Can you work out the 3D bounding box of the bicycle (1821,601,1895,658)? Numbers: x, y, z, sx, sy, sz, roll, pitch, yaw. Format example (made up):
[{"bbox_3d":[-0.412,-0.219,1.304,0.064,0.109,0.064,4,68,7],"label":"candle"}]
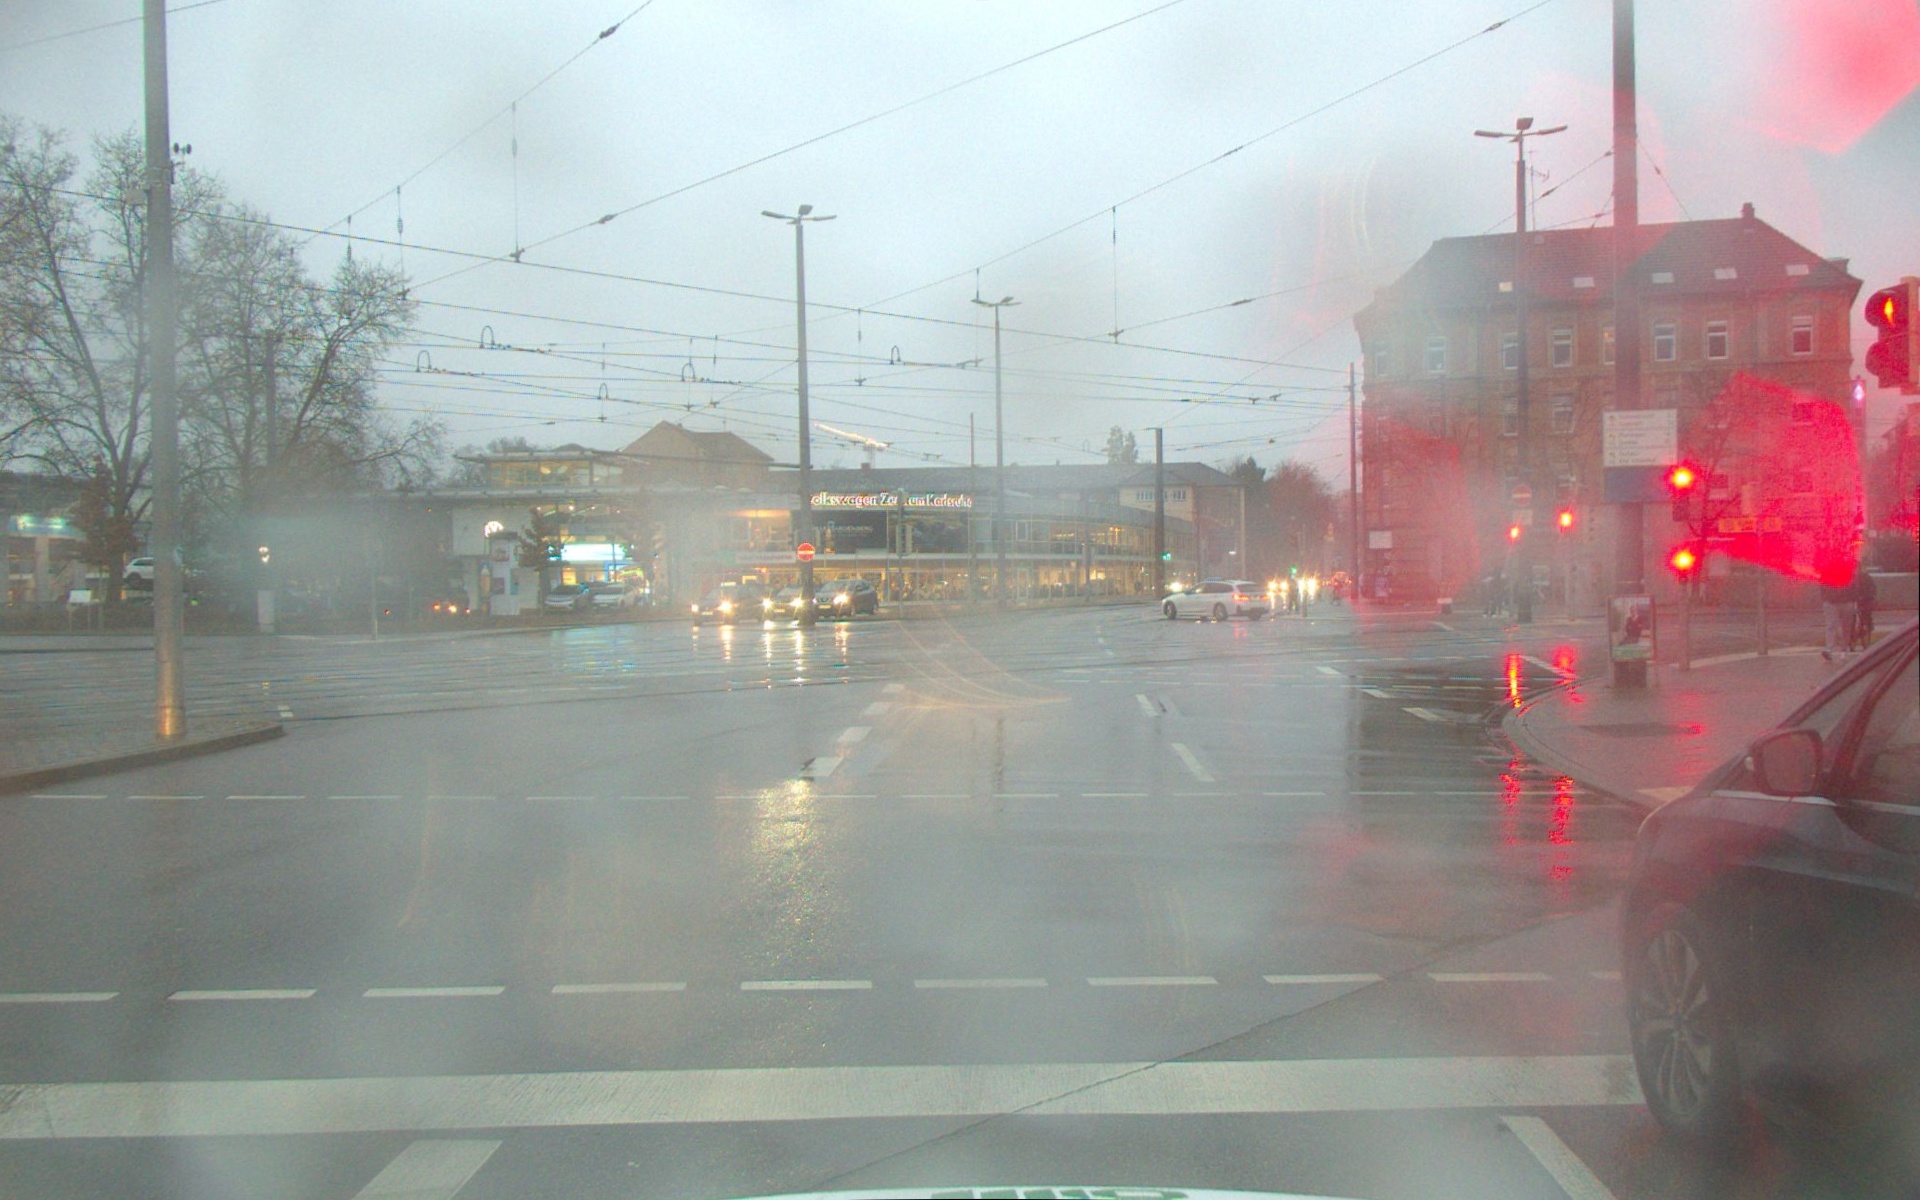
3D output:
[{"bbox_3d":[16.697,0.533,30.738,0.684,0.998,2.000,-1,0,44],"label":"bicycle"}]

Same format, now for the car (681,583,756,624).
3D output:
[{"bbox_3d":[-9.291,0.121,63.858,1.774,1.472,4.003,-1,0,8],"label":"car"}]

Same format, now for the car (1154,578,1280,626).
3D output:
[{"bbox_3d":[9.326,0.083,60.356,1.721,1.686,4.752,-1,0,-36],"label":"car"}]

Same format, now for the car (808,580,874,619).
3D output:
[{"bbox_3d":[-4.755,-0.027,66.580,1.774,1.472,4.003,-1,0,8],"label":"car"}]

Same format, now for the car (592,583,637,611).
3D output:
[{"bbox_3d":[-21.125,-0.201,101.308,1.824,1.629,4.001,-1,0,1],"label":"car"}]

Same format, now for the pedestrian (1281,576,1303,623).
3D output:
[{"bbox_3d":[13.462,-0.006,67.027,0.586,1.872,0.611,-1,0,-35],"label":"pedestrian"}]

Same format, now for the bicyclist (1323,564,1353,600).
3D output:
[{"bbox_3d":[19.410,-0.938,84.918,1.035,1.799,1.062,-1,0,-29],"label":"bicyclist"}]

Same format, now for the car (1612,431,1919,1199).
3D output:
[{"bbox_3d":[2.824,0.578,2.856,1.741,1.831,4.425,0,1,1],"label":"car"}]

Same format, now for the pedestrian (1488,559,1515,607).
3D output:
[{"bbox_3d":[23.168,-0.733,70.776,0.721,2.049,0.781,-1,0,-30],"label":"pedestrian"}]

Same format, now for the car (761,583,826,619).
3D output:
[{"bbox_3d":[-7.074,0.036,70.561,1.774,1.472,4.003,-1,0,8],"label":"car"}]

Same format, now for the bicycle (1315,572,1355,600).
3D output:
[{"bbox_3d":[19.299,-0.731,85.135,0.688,1.400,2.187,-1,0,-29],"label":"bicycle"}]

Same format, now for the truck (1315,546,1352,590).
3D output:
[{"bbox_3d":[24.352,-2.056,107.825,1.951,2.738,5.118,-1,0,16],"label":"truck"}]

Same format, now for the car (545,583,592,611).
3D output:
[{"bbox_3d":[-23.977,-0.182,101.369,1.824,1.629,4.001,-1,0,1],"label":"car"}]

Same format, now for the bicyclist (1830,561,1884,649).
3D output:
[{"bbox_3d":[16.638,0.082,30.676,0.684,1.603,0.773,-1,0,45],"label":"bicyclist"}]

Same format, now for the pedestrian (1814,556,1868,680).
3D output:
[{"bbox_3d":[14.366,0.281,26.958,0.664,1.984,0.674,-1,0,36],"label":"pedestrian"}]
